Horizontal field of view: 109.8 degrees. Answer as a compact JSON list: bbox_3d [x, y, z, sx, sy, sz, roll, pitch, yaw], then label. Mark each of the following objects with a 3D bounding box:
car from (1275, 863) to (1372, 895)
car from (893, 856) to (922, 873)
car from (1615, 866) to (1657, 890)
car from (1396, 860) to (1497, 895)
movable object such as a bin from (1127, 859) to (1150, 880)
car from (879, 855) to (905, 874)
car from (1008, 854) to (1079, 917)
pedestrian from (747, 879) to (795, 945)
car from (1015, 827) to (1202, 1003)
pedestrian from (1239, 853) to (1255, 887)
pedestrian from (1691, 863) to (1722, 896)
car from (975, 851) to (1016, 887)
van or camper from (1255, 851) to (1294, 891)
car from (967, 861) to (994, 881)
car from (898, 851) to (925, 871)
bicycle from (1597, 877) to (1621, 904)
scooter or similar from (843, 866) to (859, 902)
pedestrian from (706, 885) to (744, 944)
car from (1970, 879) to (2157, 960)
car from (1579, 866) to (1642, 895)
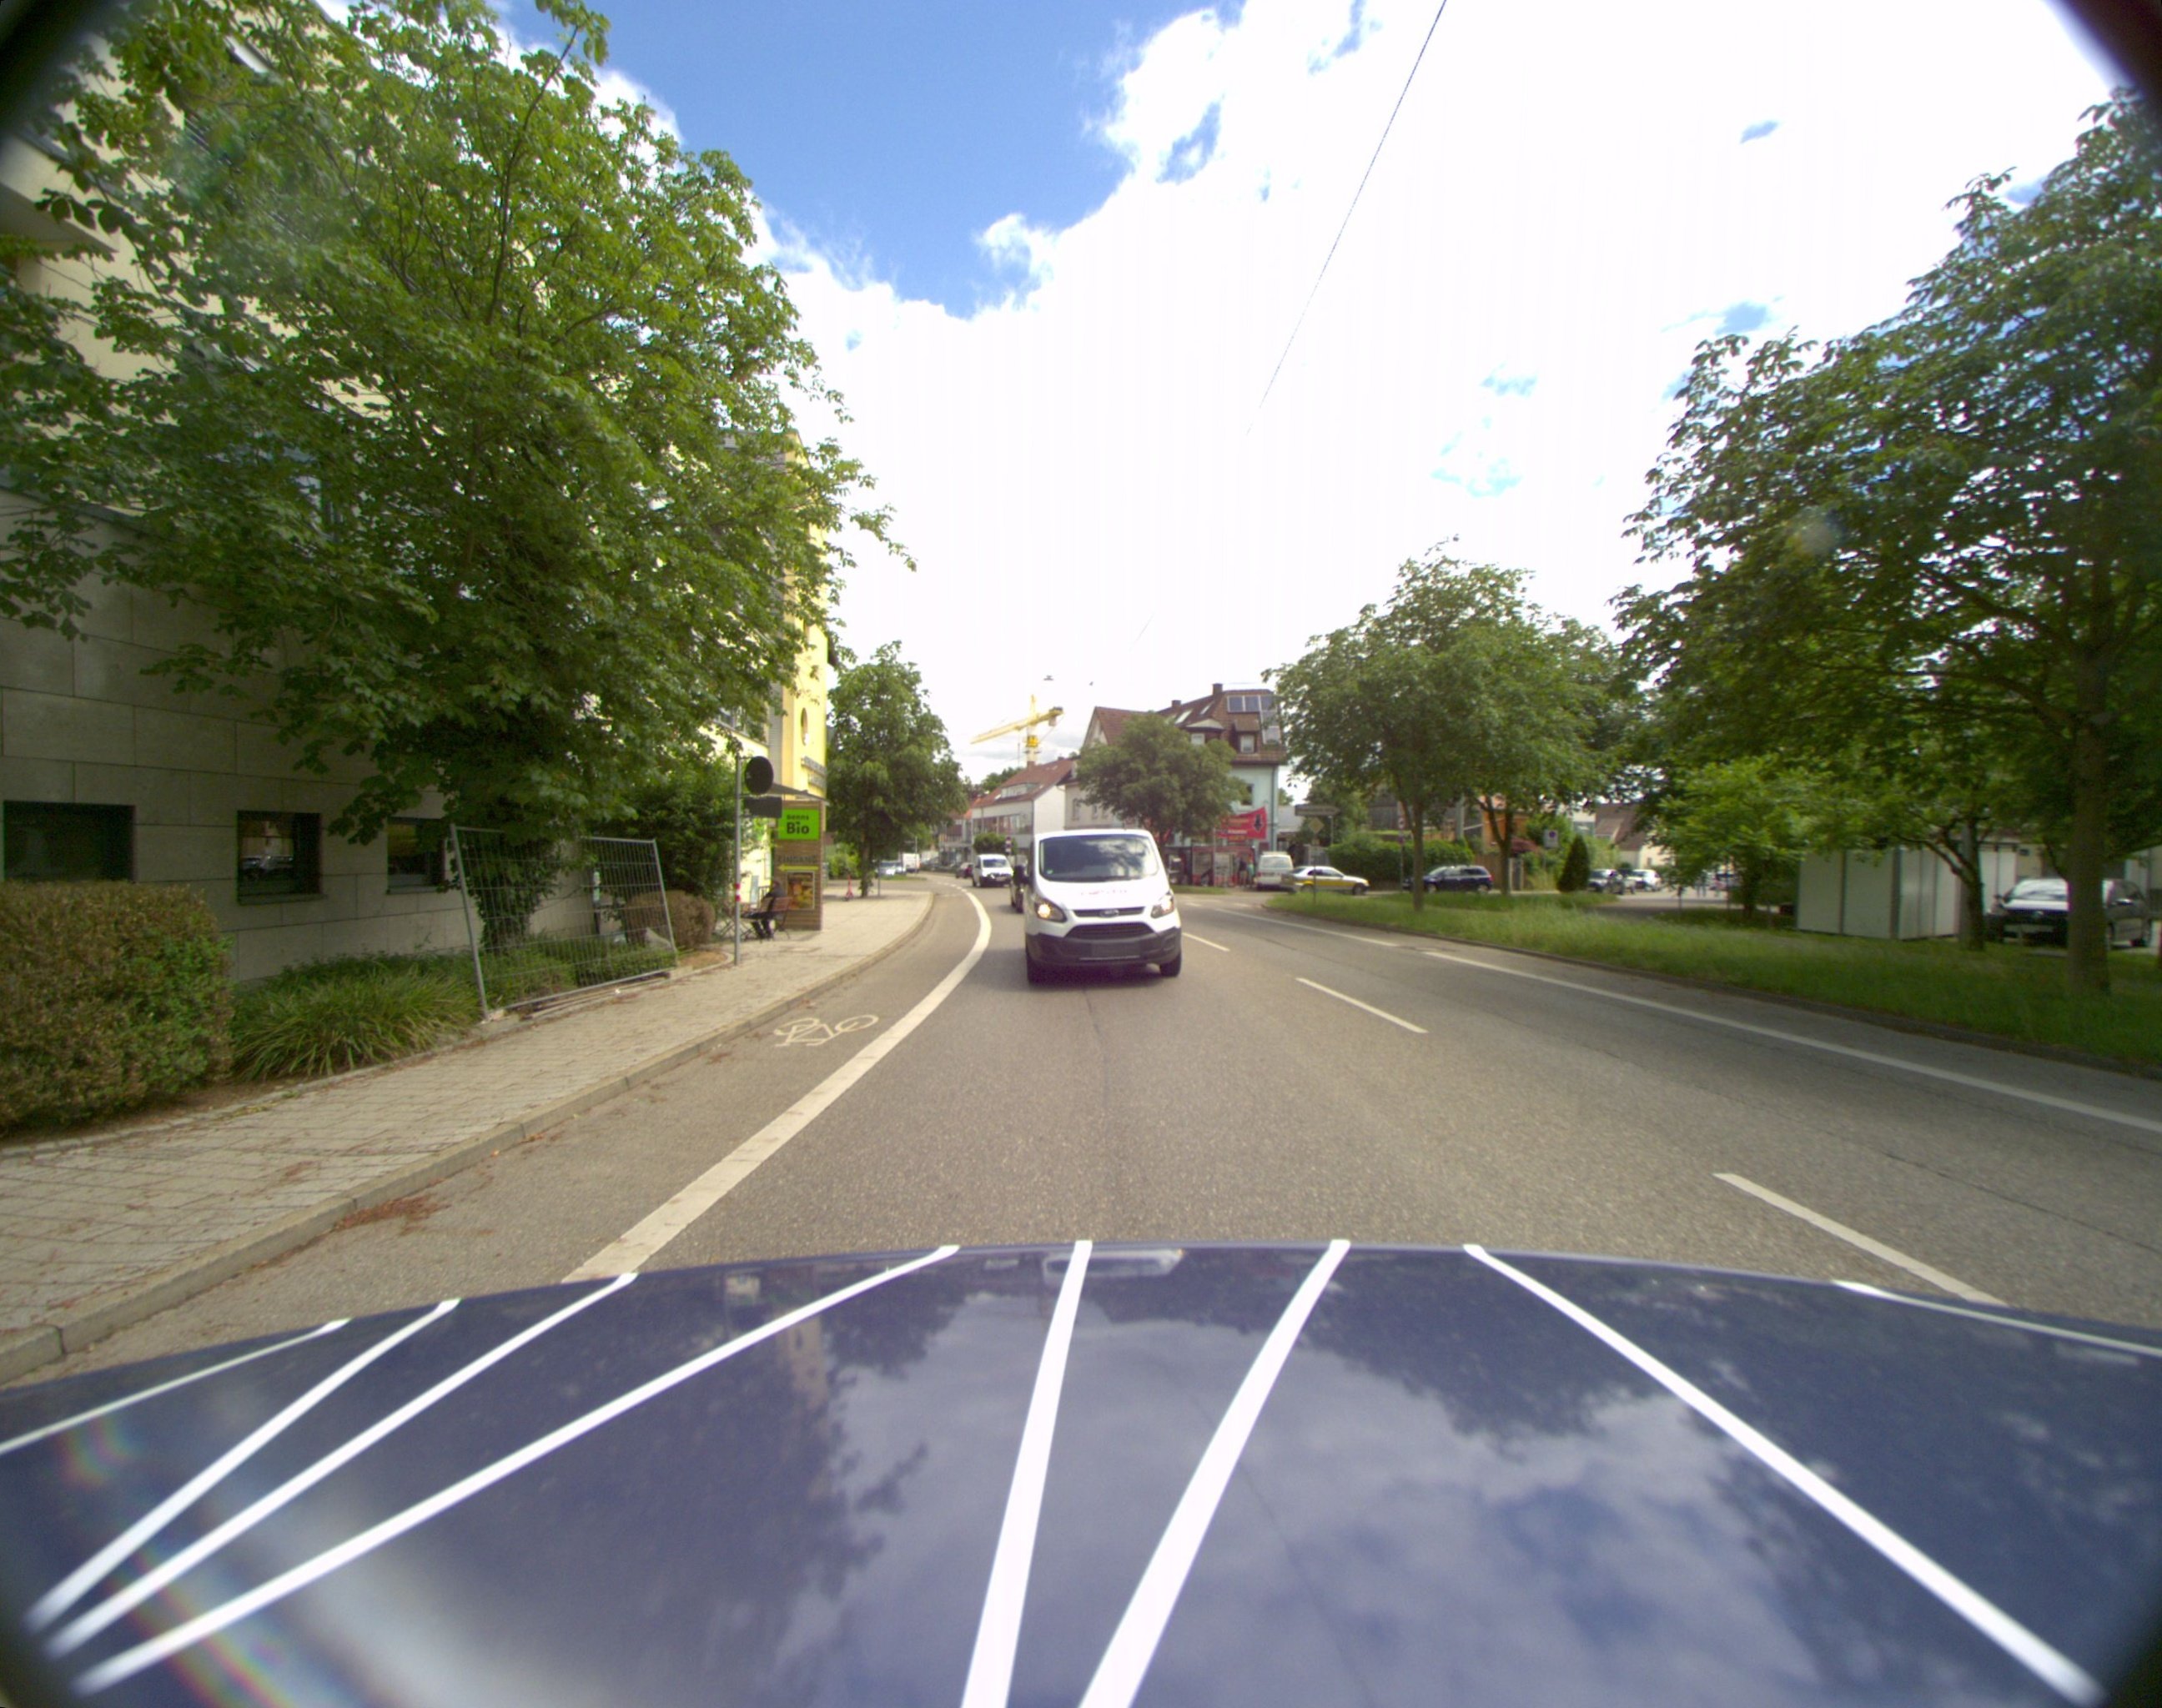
[{"bbox_3d":[11.642,1.164,36.572,4.031,1.405,1.813,0,2,-12],"label":"car"},{"bbox_3d":[-17.969,1.118,79.062,1.942,1.656,4.463,0,-1,1],"label":"car"},{"bbox_3d":[37.080,1.587,50.726,3.785,1.315,1.589,-2,3,-44],"label":"car"},{"bbox_3d":[17.473,1.100,36.405,4.001,1.540,1.814,0,3,-7],"label":"car"},{"bbox_3d":[3.814,1.018,50.676,1.024,1.347,1.244,-1,2,-25],"label":"movable object such as a bin"},{"bbox_3d":[-17.008,0.972,68.221,1.697,1.656,4.454,0,-1,-22],"label":"car"},{"bbox_3d":[-1.283,0.899,23.979,1.810,1.619,4.683,-3,1,-7],"label":"car"},{"bbox_3d":[-6.411,1.182,15.752,0.690,1.309,0.579,0,2,9],"label":"pedestrian"},{"bbox_3d":[0.105,0.746,11.452,2.108,1.981,5.227,-2,-1,-5],"label":"car"},{"bbox_3d":[9.374,0.879,42.914,0.626,1.885,0.563,-2,2,-35],"label":"pedestrian"},{"bbox_3d":[30.233,1.240,36.730,0.736,1.584,0.814,0,-4,-10],"label":"pedestrian"},{"bbox_3d":[-4.854,0.791,42.675,1.967,1.797,4.424,-1,2,-11],"label":"car"},{"bbox_3d":[10.368,0.844,40.933,1.787,1.982,4.383,1,1,12],"label":"van or camper"},{"bbox_3d":[-8.371,1.395,63.127,1.693,1.473,4.221,3,0,-14],"label":"car"},{"bbox_3d":[-20.329,0.834,91.046,2.073,2.339,5.172,3,-1,-24],"label":"car"},{"bbox_3d":[20.030,1.371,28.804,0.462,0.855,2.230,1,2,43],"label":"bicycle"},{"bbox_3d":[-8.926,1.164,29.496,0.382,1.309,1.457,-1,2,-10],"label":"scooter or similar"},{"bbox_3d":[-7.537,1.267,16.093,0.578,1.197,0.502,-1,2,-7],"label":"pedestrian"},{"bbox_3d":[20.960,1.336,16.219,3.400,1.442,1.429,-1,2,-19],"label":"car"},{"bbox_3d":[28.382,1.387,40.698,3.784,1.315,1.589,-2,3,-36],"label":"car"}]
